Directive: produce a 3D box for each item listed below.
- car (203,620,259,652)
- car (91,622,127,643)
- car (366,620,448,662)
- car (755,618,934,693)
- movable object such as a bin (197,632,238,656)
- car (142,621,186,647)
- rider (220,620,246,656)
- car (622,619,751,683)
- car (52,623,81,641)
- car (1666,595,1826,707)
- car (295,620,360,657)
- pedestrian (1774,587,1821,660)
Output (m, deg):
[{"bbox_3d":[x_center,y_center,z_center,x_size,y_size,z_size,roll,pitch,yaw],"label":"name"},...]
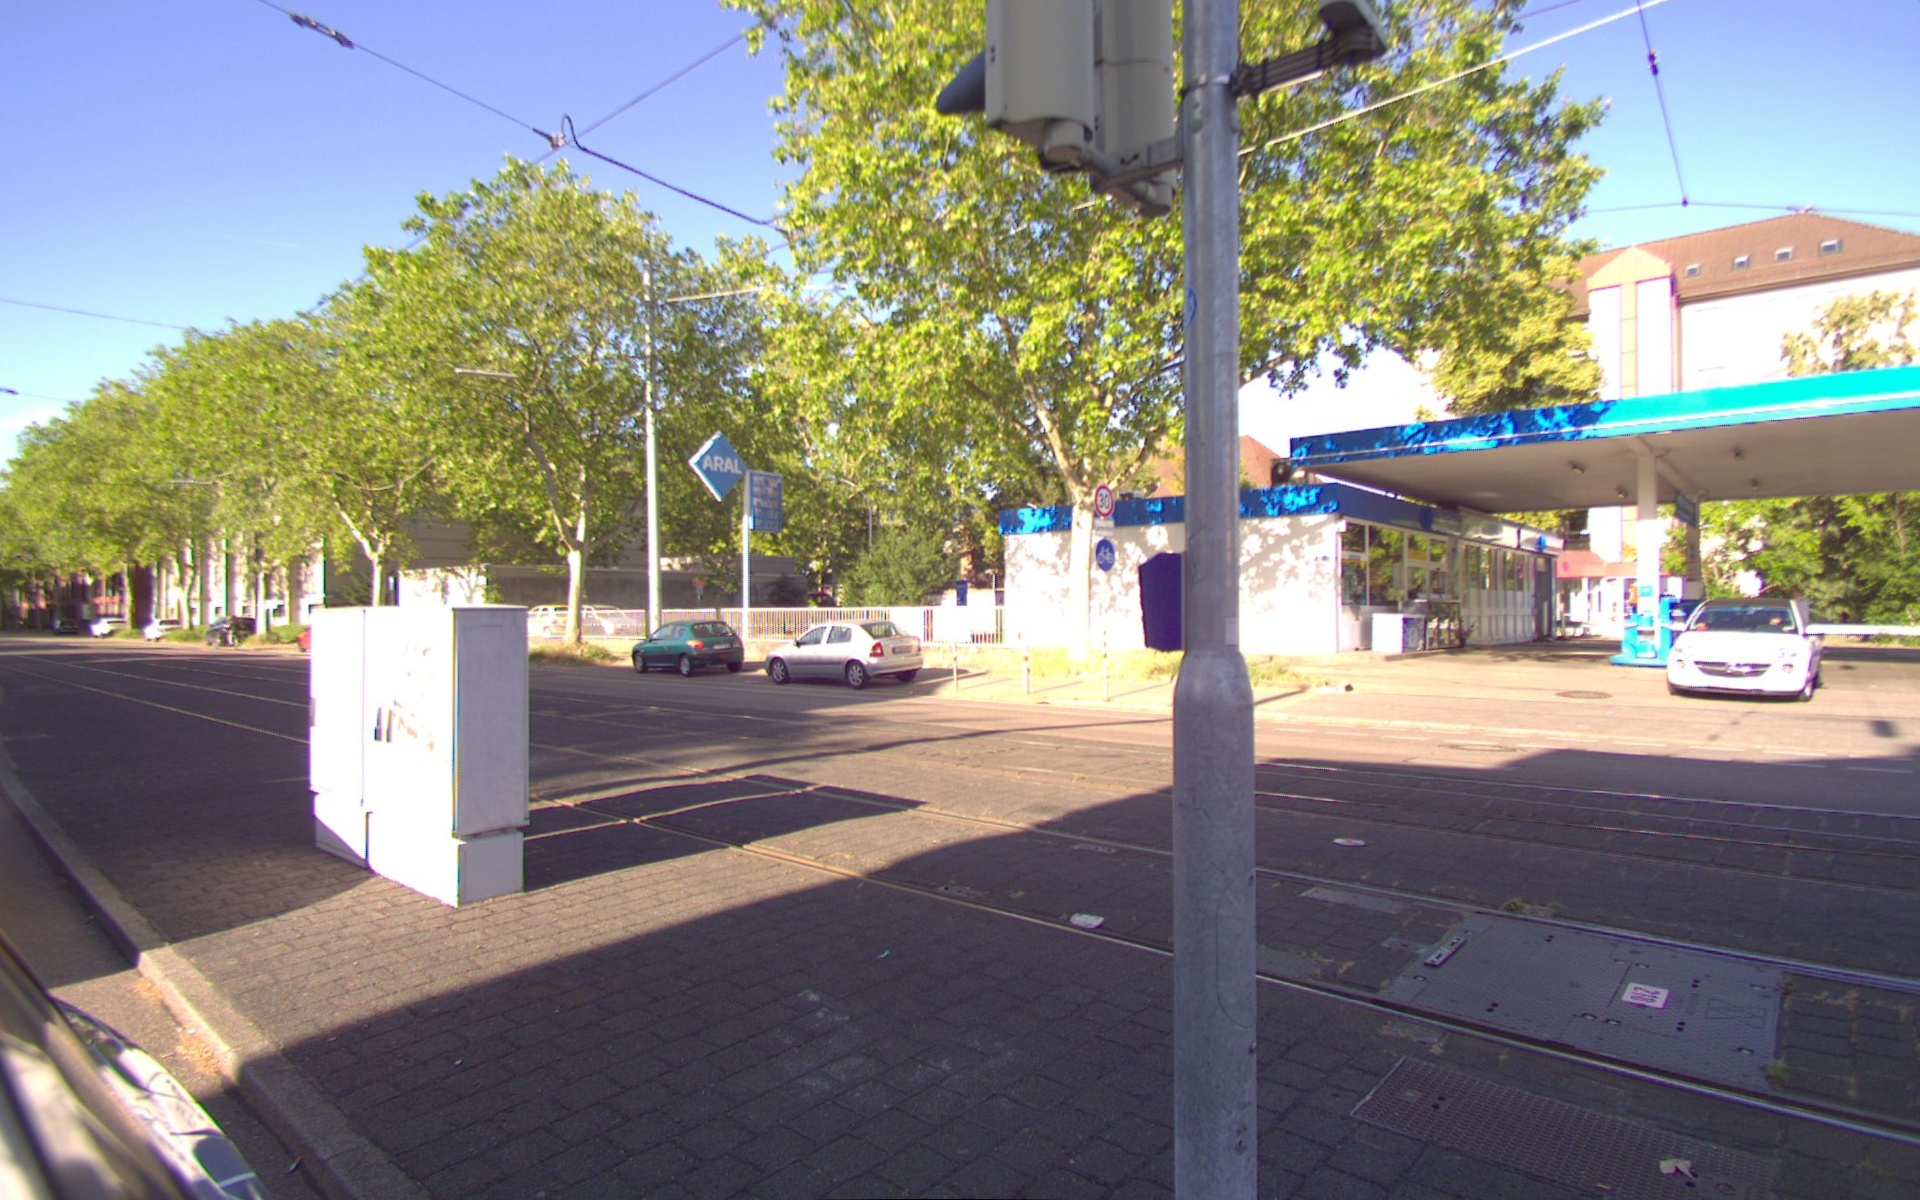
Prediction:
[{"bbox_3d":[-40.736,1.989,56.536,3.878,1.603,1.731,-1,2,43],"label":"car"},{"bbox_3d":[-66.793,2.508,79.425,3.731,1.471,1.639,-1,2,43],"label":"car"},{"bbox_3d":[-21.832,1.569,39.898,3.769,1.455,1.701,-1,2,43],"label":"car"},{"bbox_3d":[-2.639,1.188,22.606,3.987,1.376,1.666,-2,3,41],"label":"car"},{"bbox_3d":[-36.325,2.129,49.513,1.832,1.111,1.164,-1,0,37],"label":"movable object such as a bin"},{"bbox_3d":[-53.707,2.291,68.257,3.878,1.552,1.731,-1,2,43],"label":"car"},{"bbox_3d":[-35.133,1.828,48.893,1.104,1.660,0.717,-1,0,37],"label":"rider"},{"bbox_3d":[-7.291,1.298,26.798,3.606,1.455,1.598,-1,2,43],"label":"car"},{"bbox_3d":[-85.040,3.021,96.346,3.731,1.471,1.639,-1,2,43],"label":"car"},{"bbox_3d":[12.379,0.699,15.850,1.743,1.446,3.882,-1,1,41],"label":"car"},{"bbox_3d":[-28.786,1.707,46.018,3.377,1.506,1.639,-1,2,43],"label":"car"},{"bbox_3d":[19.990,0.562,24.161,0.847,1.715,0.640,-1,-3,40],"label":"pedestrian"}]
